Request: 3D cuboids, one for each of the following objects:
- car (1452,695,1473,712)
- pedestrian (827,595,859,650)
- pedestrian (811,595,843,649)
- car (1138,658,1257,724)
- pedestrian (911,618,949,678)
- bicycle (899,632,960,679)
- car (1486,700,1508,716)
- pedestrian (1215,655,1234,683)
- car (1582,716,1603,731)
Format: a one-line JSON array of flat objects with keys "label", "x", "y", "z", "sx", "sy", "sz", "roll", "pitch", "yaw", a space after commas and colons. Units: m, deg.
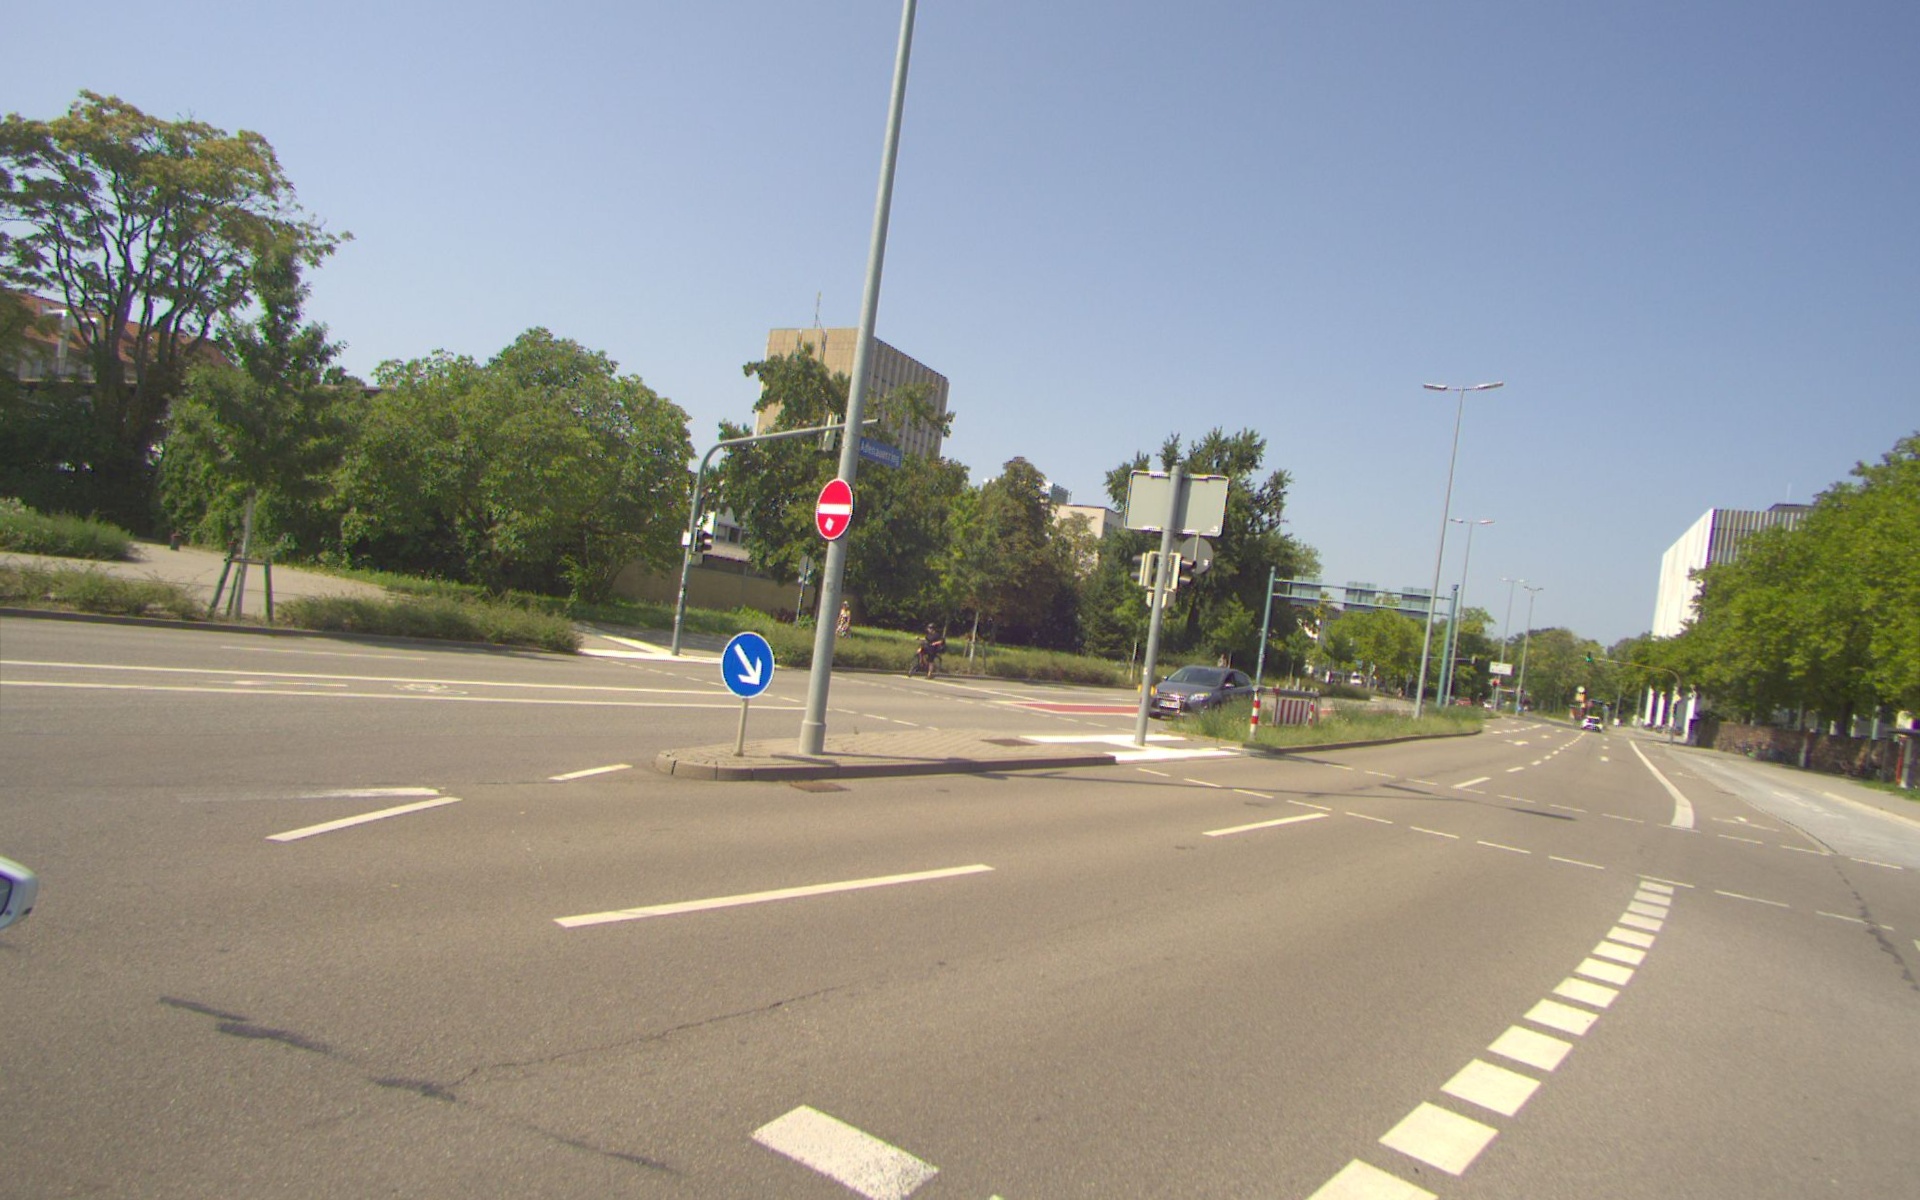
[{"label": "car", "x": 67.896, "y": 13.967, "z": 135.842, "sx": 2.049, "sy": 1.940, "sz": 4.189, "roll": 8, "pitch": -1, "yaw": 30}, {"label": "pedestrian", "x": -4.083, "y": 0.788, "z": 35.012, "sx": 0.683, "sy": 1.793, "sz": 0.586, "roll": 8, "pitch": 0, "yaw": 35}, {"label": "pedestrian", "x": -4.686, "y": 0.777, "z": 35.411, "sx": 0.683, "sy": 1.793, "sz": 0.586, "roll": 8, "pitch": 0, "yaw": 35}, {"label": "car", "x": 6.073, "y": 2.312, "z": 25.446, "sx": 1.763, "sy": 1.373, "sz": 3.417, "roll": 6, "pitch": -2, "yaw": 33}, {"label": "pedestrian", "x": -0.911, "y": 1.442, "z": 30.321, "sx": 0.768, "sy": 1.689, "sz": 0.547, "roll": 8, "pitch": 0, "yaw": 35}, {"label": "bicycle", "x": -0.906, "y": 1.680, "z": 30.375, "sx": 0.774, "sy": 1.227, "sz": 1.785, "roll": 8, "pitch": -1, "yaw": 34}, {"label": "car", "x": 69.455, "y": 13.957, "z": 130.087, "sx": 1.968, "sy": 1.698, "sz": 3.992, "roll": 7, "pitch": -1, "yaw": 34}, {"label": "pedestrian", "x": 18.084, "y": 4.716, "z": 68.771, "sx": 0.781, "sy": 1.790, "sz": 0.824, "roll": 8, "pitch": 0, "yaw": 35}, {"label": "car", "x": 62.604, "y": 12.253, "z": 99.628, "sx": 1.565, "sy": 1.150, "sz": 3.256, "roll": 8, "pitch": 0, "yaw": 34}]
